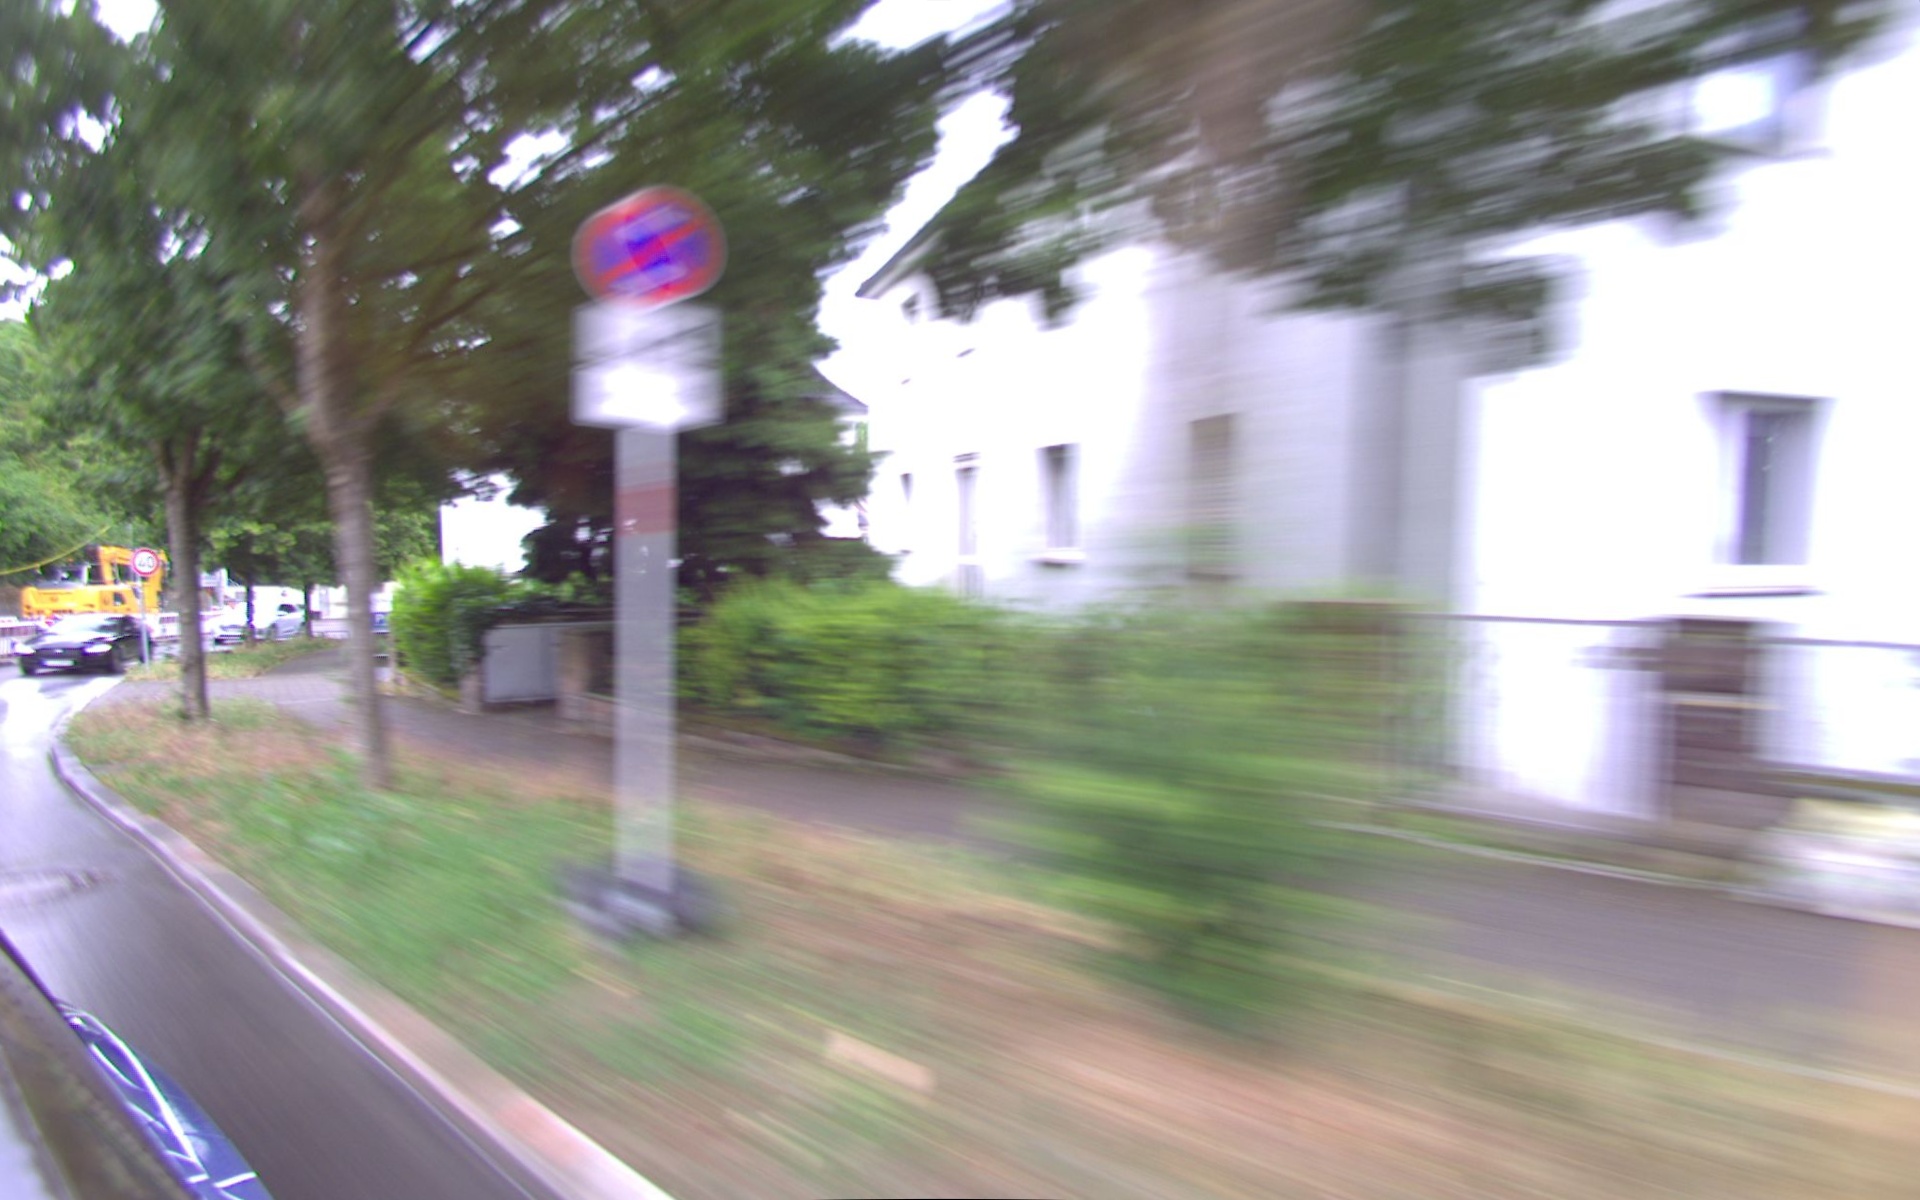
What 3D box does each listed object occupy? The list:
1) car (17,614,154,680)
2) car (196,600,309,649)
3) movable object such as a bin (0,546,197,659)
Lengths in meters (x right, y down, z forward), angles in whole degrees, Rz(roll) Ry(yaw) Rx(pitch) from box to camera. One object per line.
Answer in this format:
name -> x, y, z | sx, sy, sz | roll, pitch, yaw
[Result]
car -> -21.803, 1.099, 25.407 | 1.813, 1.413, 4.084 | -1, 1, -30
car -> -27.552, 0.890, 39.605 | 1.968, 1.722, 4.585 | -1, 1, -12
movable object such as a bin -> -32.644, 0.032, 38.414 | 3.276, 3.868, 7.223 | -1, 1, -14
